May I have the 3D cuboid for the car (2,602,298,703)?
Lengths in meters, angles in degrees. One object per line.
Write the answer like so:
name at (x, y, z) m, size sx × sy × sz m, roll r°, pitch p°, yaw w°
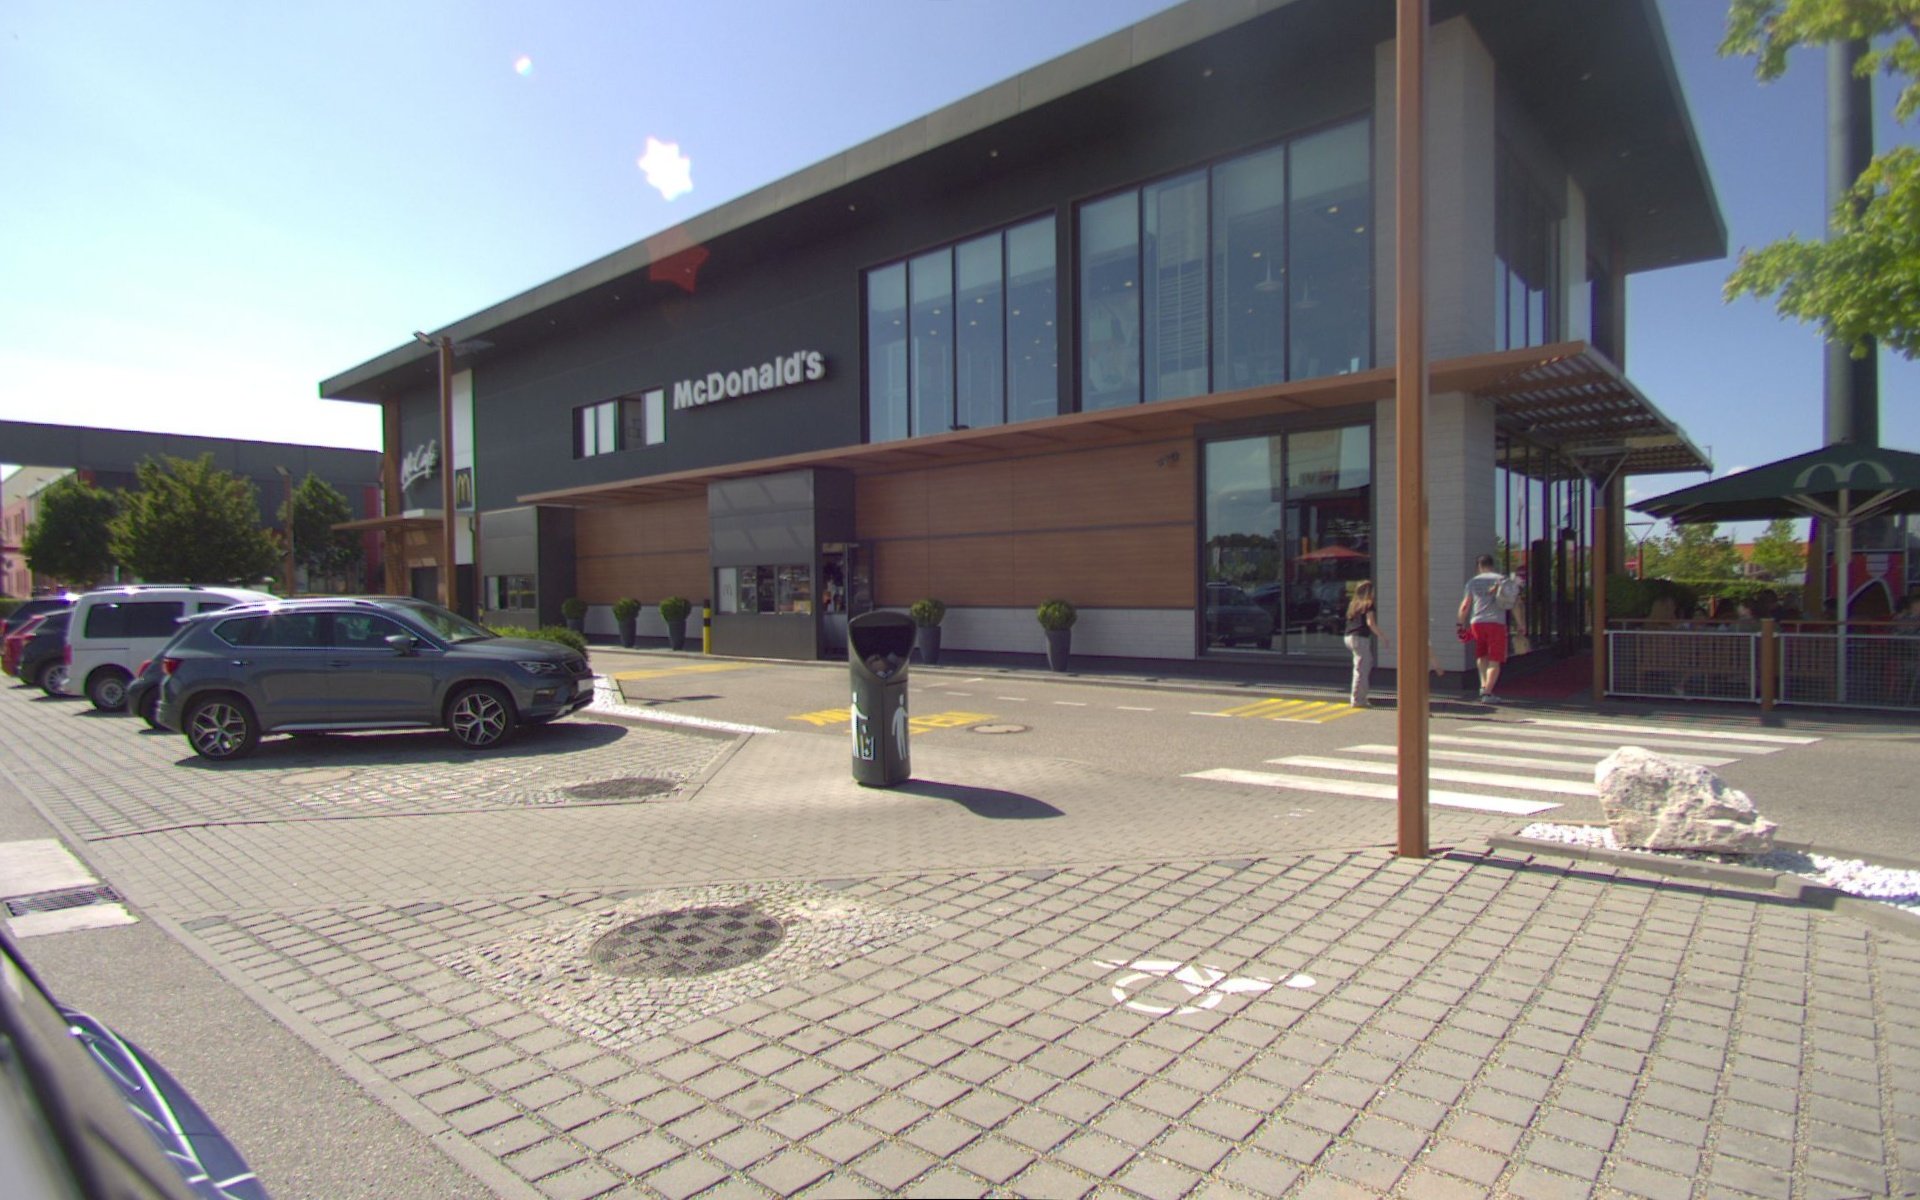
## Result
car at (-14.419, 0.874, 18.266) m, size 3.779 × 1.644 × 1.763 m, roll -1°, pitch 0°, yaw -15°

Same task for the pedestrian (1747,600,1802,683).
pedestrian at (11.287, 0.557, 14.022) m, size 0.573 × 1.109 × 0.648 m, roll -1°, pitch 0°, yaw 40°

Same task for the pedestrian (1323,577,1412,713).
pedestrian at (4.992, 0.529, 12.412) m, size 0.717 × 1.595 × 0.743 m, roll -1°, pitch 0°, yaw -39°

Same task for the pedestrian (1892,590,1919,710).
pedestrian at (10.474, 0.529, 10.796) m, size 0.714 × 1.267 × 0.517 m, roll -1°, pitch 0°, yaw 37°

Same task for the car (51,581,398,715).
car at (-11.410, 0.690, 15.987) m, size 4.078 × 1.936 × 1.762 m, roll -1°, pitch 0°, yaw -9°

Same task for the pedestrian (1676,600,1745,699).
pedestrian at (8.885, 0.572, 11.995) m, size 0.633 × 1.132 × 0.517 m, roll -1°, pitch 0°, yaw 37°

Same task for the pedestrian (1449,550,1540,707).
pedestrian at (6.399, 0.327, 12.106) m, size 0.894 × 1.781 × 0.794 m, roll -1°, pitch 0°, yaw 33°

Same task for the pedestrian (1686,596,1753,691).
pedestrian at (9.401, 0.526, 12.536) m, size 0.633 × 1.132 × 0.517 m, roll -1°, pitch 0°, yaw 37°

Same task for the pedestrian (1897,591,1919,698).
pedestrian at (11.725, 0.520, 12.089) m, size 0.714 × 1.267 × 0.517 m, roll -1°, pitch 0°, yaw 37°

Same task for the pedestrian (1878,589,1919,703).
pedestrian at (10.878, 0.512, 11.472) m, size 0.633 × 1.267 × 0.517 m, roll -1°, pitch 0°, yaw 37°

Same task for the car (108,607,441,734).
car at (-9.047, 0.882, 13.619) m, size 3.359 × 1.493 × 1.572 m, roll -1°, pitch 0°, yaw -11°

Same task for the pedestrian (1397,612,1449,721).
pedestrian at (5.274, 0.739, 11.521) m, size 0.447 × 1.195 × 0.486 m, roll -1°, pitch 0°, yaw 35°

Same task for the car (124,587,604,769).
car at (-6.360, 0.776, 11.218) m, size 4.164 × 1.615 × 1.793 m, roll -3°, pitch 2°, yaw -4°

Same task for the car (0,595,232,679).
car at (-19.276, 0.789, 23.197) m, size 3.969 × 1.718 × 1.680 m, roll -1°, pitch 1°, yaw -26°

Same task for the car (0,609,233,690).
car at (-17.332, 0.970, 20.653) m, size 3.707 × 1.455 × 1.680 m, roll -1°, pitch 0°, yaw -20°
